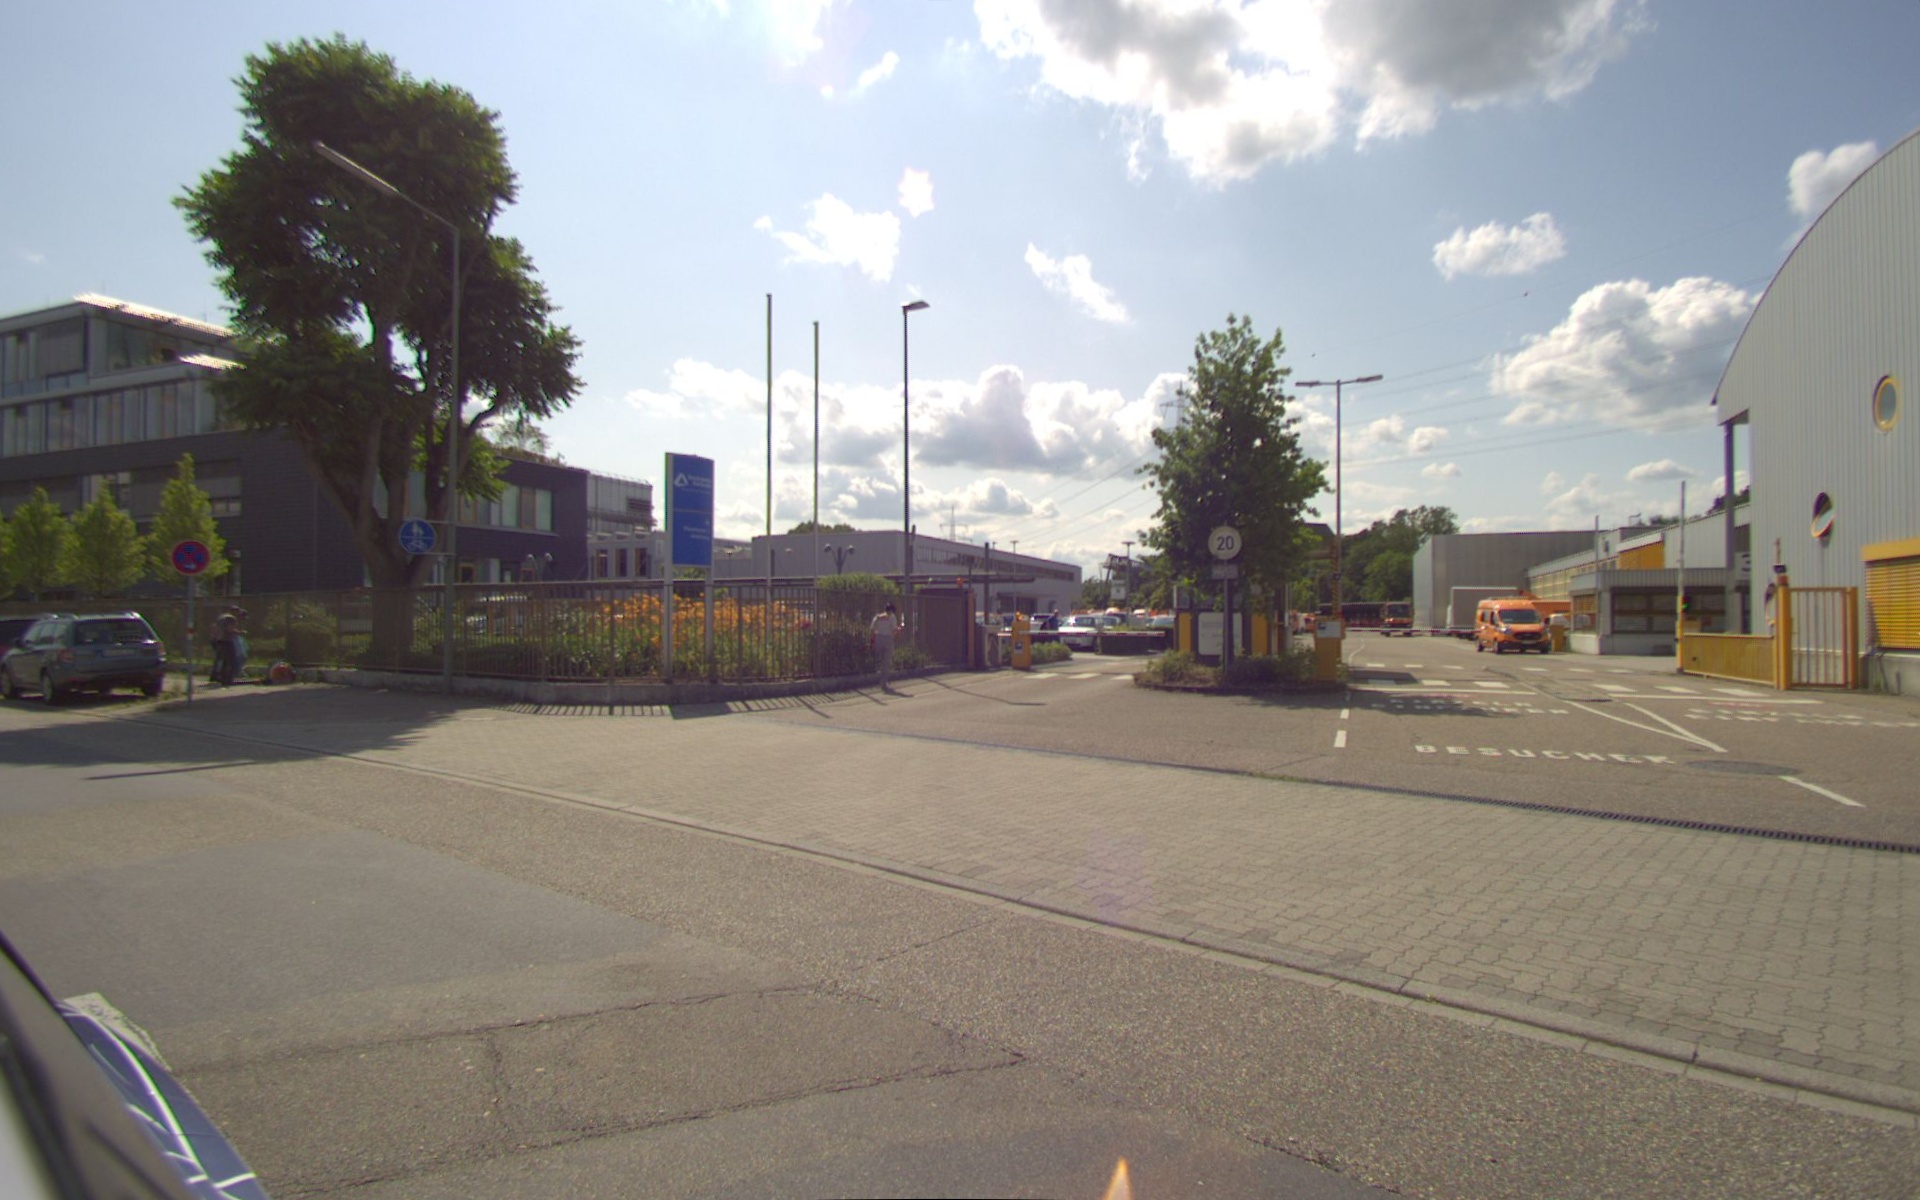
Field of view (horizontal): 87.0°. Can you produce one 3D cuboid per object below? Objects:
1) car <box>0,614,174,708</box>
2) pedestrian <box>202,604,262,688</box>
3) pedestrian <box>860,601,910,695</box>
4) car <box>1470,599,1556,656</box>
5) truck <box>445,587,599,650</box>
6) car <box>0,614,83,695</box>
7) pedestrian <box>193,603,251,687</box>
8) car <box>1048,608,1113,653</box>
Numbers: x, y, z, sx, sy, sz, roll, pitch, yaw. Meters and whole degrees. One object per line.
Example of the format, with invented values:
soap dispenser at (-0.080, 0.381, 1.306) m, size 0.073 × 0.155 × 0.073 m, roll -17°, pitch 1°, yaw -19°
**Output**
car at (-17.751, 1.151, 20.264) m, size 4.676 × 1.663 × 1.784 m, roll -1°, pitch 0°, yaw 33°
pedestrian at (-15.324, 0.942, 21.310) m, size 0.830 × 1.704 × 0.834 m, roll -1°, pitch 0°, yaw 40°
pedestrian at (-1.407, 0.881, 19.006) m, size 0.729 × 1.704 × 0.545 m, roll 2°, pitch 0°, yaw 23°
car at (23.559, 1.140, 43.303) m, size 2.022 × 2.261 × 4.610 m, roll -1°, pitch 0°, yaw 13°
truck at (-19.972, 0.877, 46.623) m, size 2.388 × 2.678 × 6.884 m, roll -1°, pitch -1°, yaw 22°
car at (-22.175, 1.219, 23.405) m, size 4.218 × 1.695 × 1.761 m, roll -1°, pitch 0°, yaw 33°
pedestrian at (-16.121, 0.957, 22.116) m, size 0.844 × 1.774 × 0.820 m, roll -1°, pitch 0°, yaw 40°
car at (5.027, 1.230, 41.713) m, size 1.735 × 1.701 × 3.972 m, roll -1°, pitch 0°, yaw 21°
